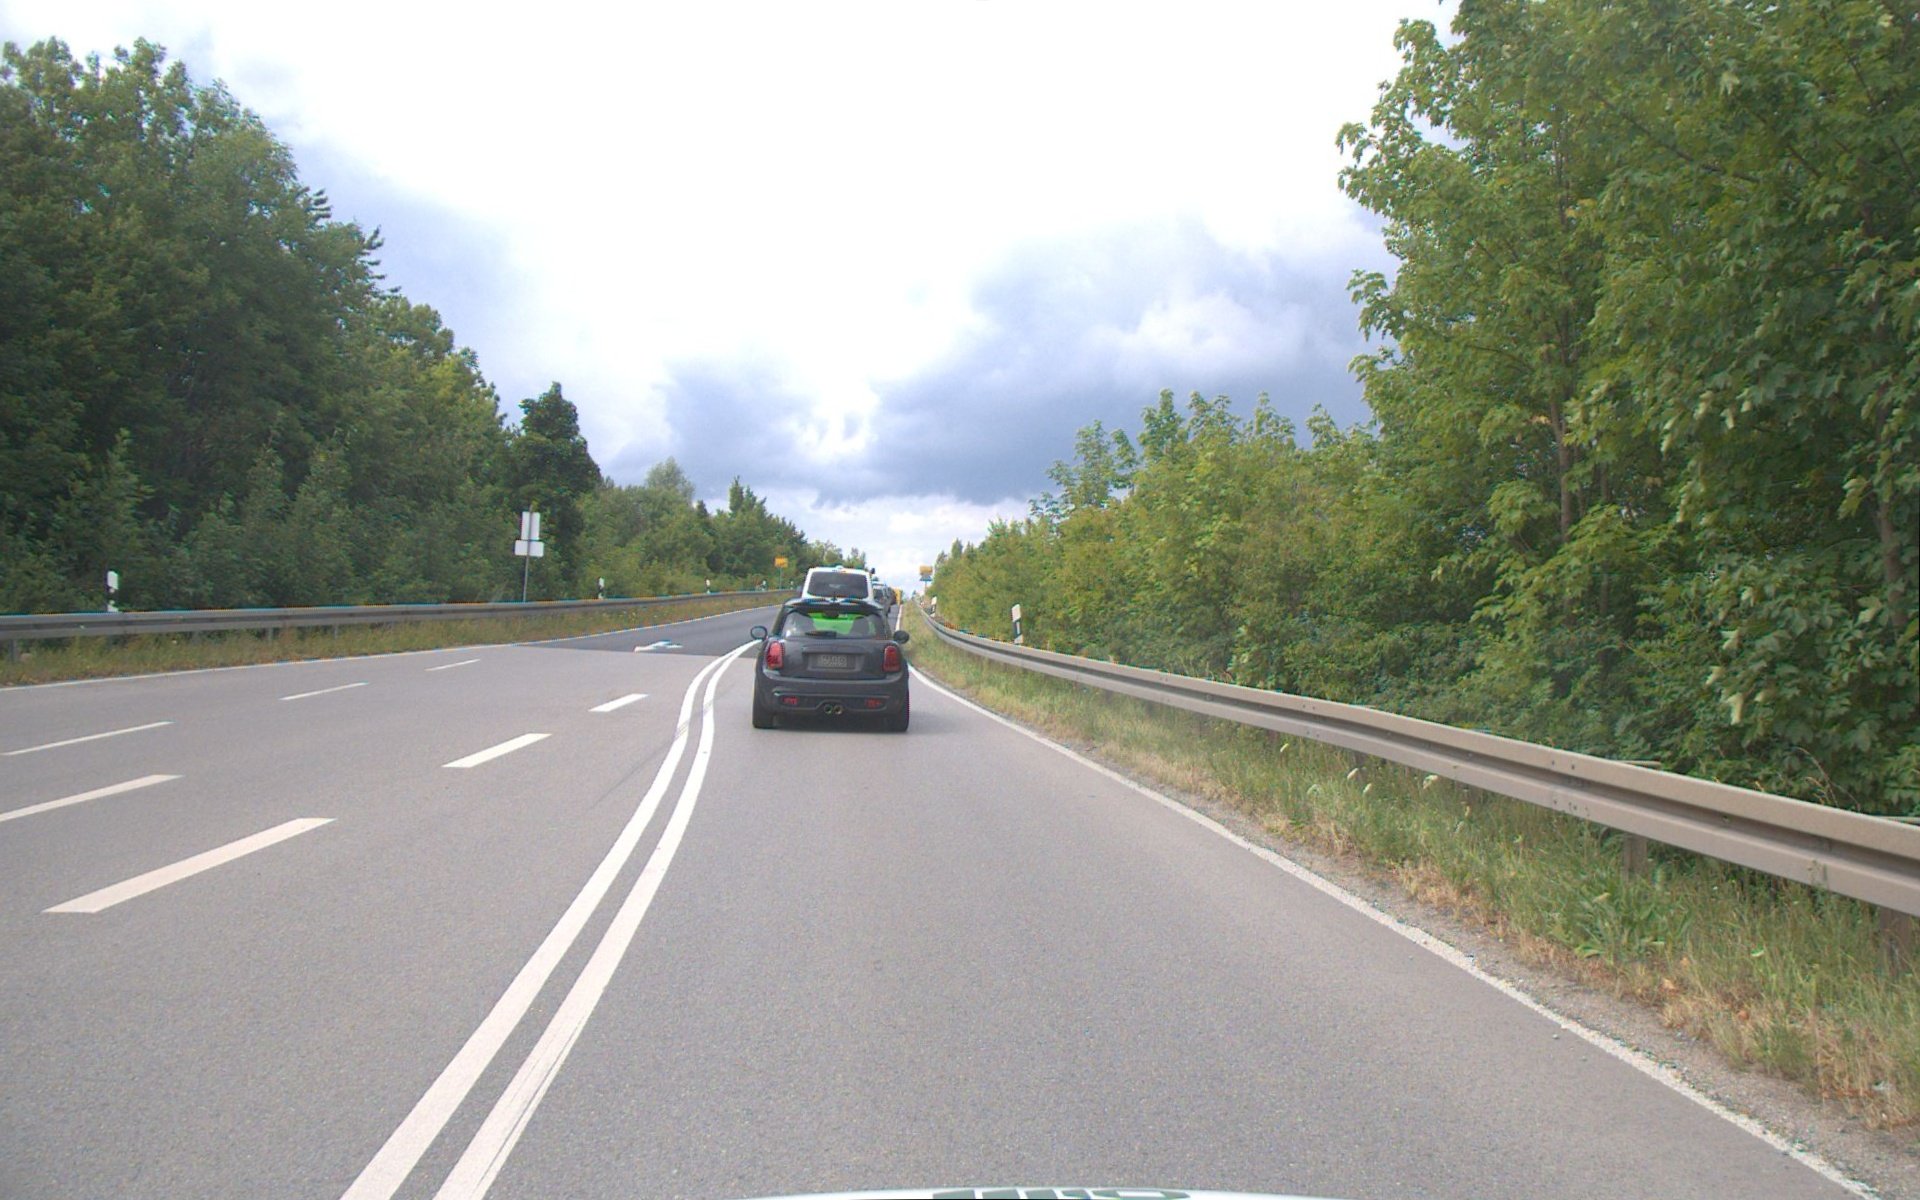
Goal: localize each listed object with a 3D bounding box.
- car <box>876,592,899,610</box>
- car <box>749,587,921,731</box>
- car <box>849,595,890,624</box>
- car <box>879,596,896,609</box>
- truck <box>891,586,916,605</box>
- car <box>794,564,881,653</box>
[{"bbox_3d":[-5.902,0.076,134.277,1.660,1.342,4.000,1,1,0],"label":"car"},{"bbox_3d":[-1.562,0.608,19.394,1.700,1.481,3.992,1,0,-9],"label":"car"},{"bbox_3d":[-4.251,0.429,78.279,1.659,1.243,4.001,1,1,1],"label":"car"},{"bbox_3d":[-7.771,0.261,177.136,1.660,1.342,4.000,1,1,0],"label":"car"},{"bbox_3d":[-7.411,-0.595,217.700,2.850,2.413,10.452,0,0,0],"label":"truck"},{"bbox_3d":[-3.020,0.173,40.432,1.983,2.048,3.996,1,1,-5],"label":"car"}]
